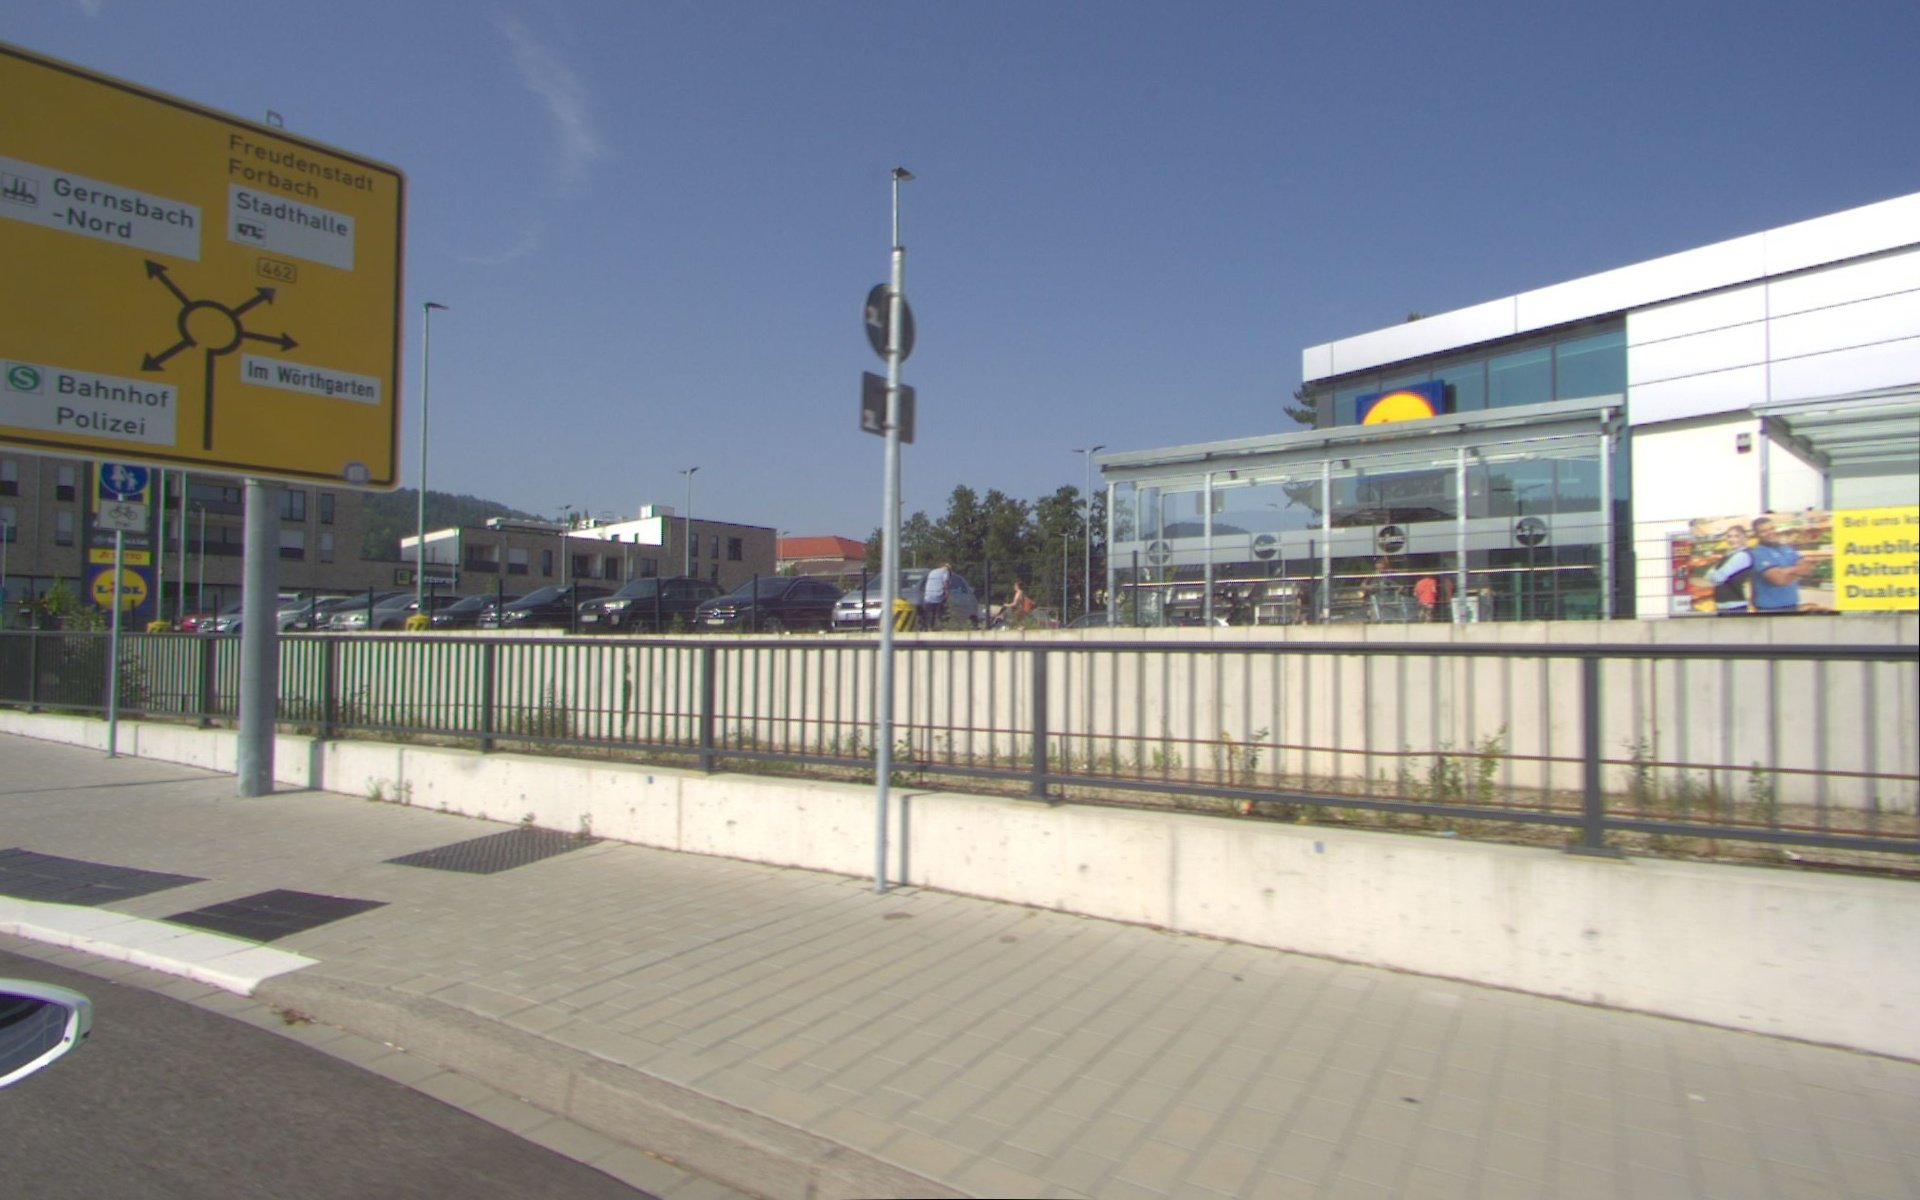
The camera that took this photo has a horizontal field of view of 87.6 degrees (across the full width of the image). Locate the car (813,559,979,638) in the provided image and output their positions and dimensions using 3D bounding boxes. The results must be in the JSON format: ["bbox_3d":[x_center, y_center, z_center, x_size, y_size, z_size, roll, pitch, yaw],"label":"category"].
[{"bbox_3d":[-1.207,0.056,20.507,1.655,1.381,3.805,-1,-3,28],"label":"car"}]

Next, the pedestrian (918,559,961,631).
[{"bbox_3d":[-0.399,-0.082,19.347,0.647,1.328,0.546,-2,-3,31],"label":"pedestrian"}]

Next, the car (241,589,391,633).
[{"bbox_3d":[-19.909,0.385,31.091,1.688,1.214,3.555,-1,-3,28],"label":"car"}]

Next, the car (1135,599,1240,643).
[{"bbox_3d":[8.791,0.853,38.757,3.654,1.604,1.616,-2,-3,31],"label":"car"}]

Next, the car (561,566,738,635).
[{"bbox_3d":[-7.273,0.086,23.862,1.698,1.421,4.005,-1,-3,28],"label":"car"}]

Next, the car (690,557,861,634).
[{"bbox_3d":[-3.921,-0.025,21.944,1.463,1.421,4.061,-1,-3,28],"label":"car"}]

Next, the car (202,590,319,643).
[{"bbox_3d":[-30.067,0.760,43.098,3.957,2.162,1.984,2,-3,-41],"label":"car"}]

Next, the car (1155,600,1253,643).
[{"bbox_3d":[9.942,0.914,40.896,3.576,1.650,1.595,-2,-3,31],"label":"car"}]

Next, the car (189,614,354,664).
[{"bbox_3d":[-22.235,1.308,32.482,1.691,1.505,4.053,-1,-3,31],"label":"car"}]

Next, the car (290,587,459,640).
[{"bbox_3d":[-17.094,0.440,29.442,1.634,1.359,4.036,-1,-3,28],"label":"car"}]

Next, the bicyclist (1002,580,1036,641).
[{"bbox_3d":[1.430,0.269,24.276,0.712,1.440,0.431,-1,-2,23],"label":"bicyclist"}]

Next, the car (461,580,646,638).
[{"bbox_3d":[-10.160,0.298,25.345,1.717,1.261,4.213,-1,-3,28],"label":"car"}]

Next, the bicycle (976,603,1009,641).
[{"bbox_3d":[0.799,0.547,24.516,0.667,0.911,0.533,-1,-2,22],"label":"bicycle"}]

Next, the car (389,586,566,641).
[{"bbox_3d":[-12.584,0.417,26.381,1.703,1.261,3.966,-1,-3,28],"label":"car"}]

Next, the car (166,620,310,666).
[{"bbox_3d":[-24.324,1.469,33.834,1.684,1.447,3.555,-1,-3,28],"label":"car"}]

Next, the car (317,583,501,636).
[{"bbox_3d":[-15.253,0.316,27.968,1.638,1.261,4.278,-1,-3,28],"label":"car"}]
